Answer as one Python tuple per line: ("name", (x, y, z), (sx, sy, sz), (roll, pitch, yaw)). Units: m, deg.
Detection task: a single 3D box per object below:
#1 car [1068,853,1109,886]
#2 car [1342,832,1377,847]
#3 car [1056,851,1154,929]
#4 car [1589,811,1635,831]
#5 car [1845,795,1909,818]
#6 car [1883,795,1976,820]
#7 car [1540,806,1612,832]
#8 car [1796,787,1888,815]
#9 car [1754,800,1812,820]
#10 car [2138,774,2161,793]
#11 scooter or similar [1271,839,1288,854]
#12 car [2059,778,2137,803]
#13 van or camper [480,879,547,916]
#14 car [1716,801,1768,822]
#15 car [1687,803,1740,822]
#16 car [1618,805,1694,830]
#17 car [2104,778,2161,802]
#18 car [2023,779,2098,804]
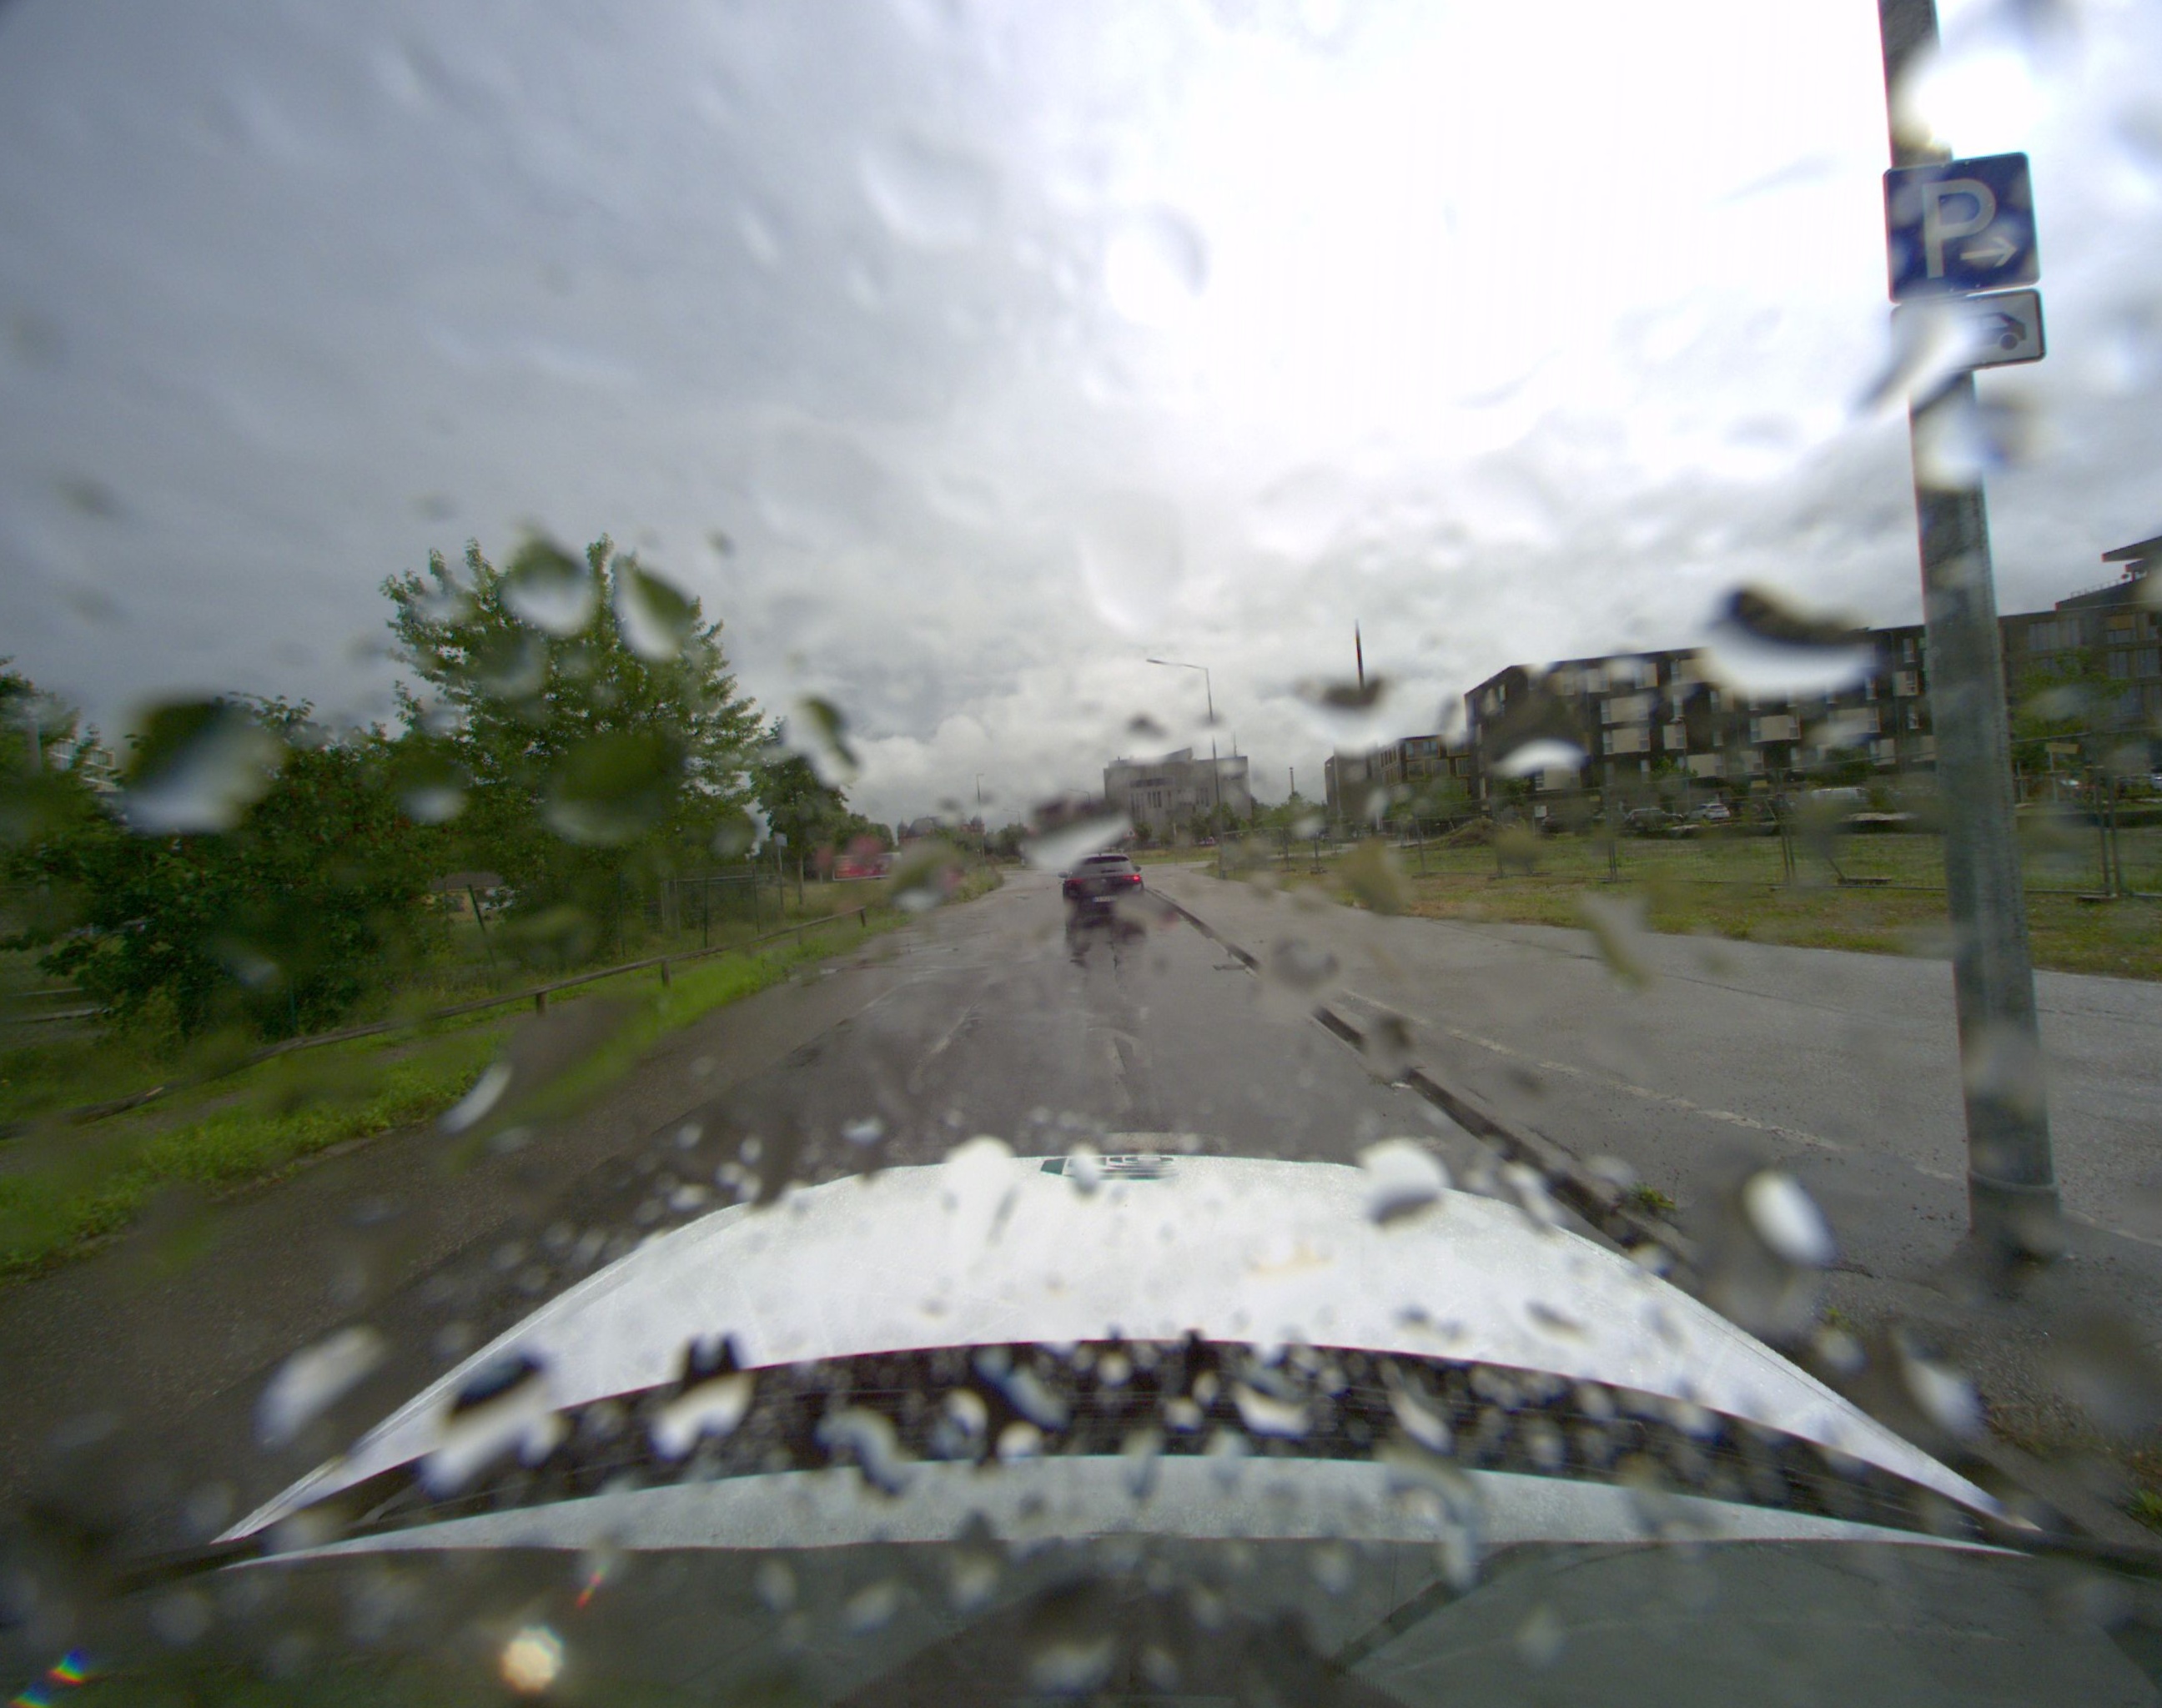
("car", (0.333, 0.782, 43.186), (1.837, 1.442, 3.996), (-7, 0, -3))
("car", (36.753, -1.896, 107.468), (4.176, 1.557, 1.673), (-5, 0, 12))
("car", (0.501, 0.742, 18.915), (1.980, 1.520, 4.000), (-2, 1, 0))
("car", (44.417, -2.754, 68.180), (1.769, 1.527, 3.852), (-1, 1, 8))
("car", (63.397, -3.737, 64.932), (1.769, 1.615, 3.852), (-1, 1, 8))
("car", (58.053, -3.154, 55.781), (3.963, 1.414, 2.005), (-3, 0, 9))
("car", (35.675, -2.490, 58.729), (3.967, 1.728, 2.003), (-1, 0, 5))
("car", (52.695, -3.668, 56.475), (4.297, 1.772, 2.006), (1, 1, 10))
("car", (56.788, -3.520, 65.971), (1.769, 1.395, 3.852), (-1, 1, 8))
("car", (83.561, -5.465, 61.971), (1.538, 1.296, 3.914), (-1, 1, 8))
("scooter or similar", (17.323, -0.620, 71.146), (1.285, 1.187, 0.499), (-6, 2, -21))
("car", (77.967, -4.836, 62.507), (1.535, 1.615, 3.852), (-1, 1, 8))
("van or camper", (-65.320, 4.997, 93.942), (5.869, 3.744, 2.629), (-4, 0, -30))
("car", (54.093, -3.450, 66.710), (1.628, 1.396, 3.791), (-2, -1, 9))
("car", (51.977, -3.410, 67.007), (1.752, 1.395, 3.817), (-1, 1, 8))
("car", (40.977, -2.585, 58.075), (3.967, 1.641, 2.003), (-1, 0, 5))
("car", (81.075, -4.892, 62.165), (1.535, 1.615, 3.852), (-1, 1, 8))
("car", (75.530, -4.793, 62.870), (1.535, 1.615, 3.852), (-1, 1, 8))
